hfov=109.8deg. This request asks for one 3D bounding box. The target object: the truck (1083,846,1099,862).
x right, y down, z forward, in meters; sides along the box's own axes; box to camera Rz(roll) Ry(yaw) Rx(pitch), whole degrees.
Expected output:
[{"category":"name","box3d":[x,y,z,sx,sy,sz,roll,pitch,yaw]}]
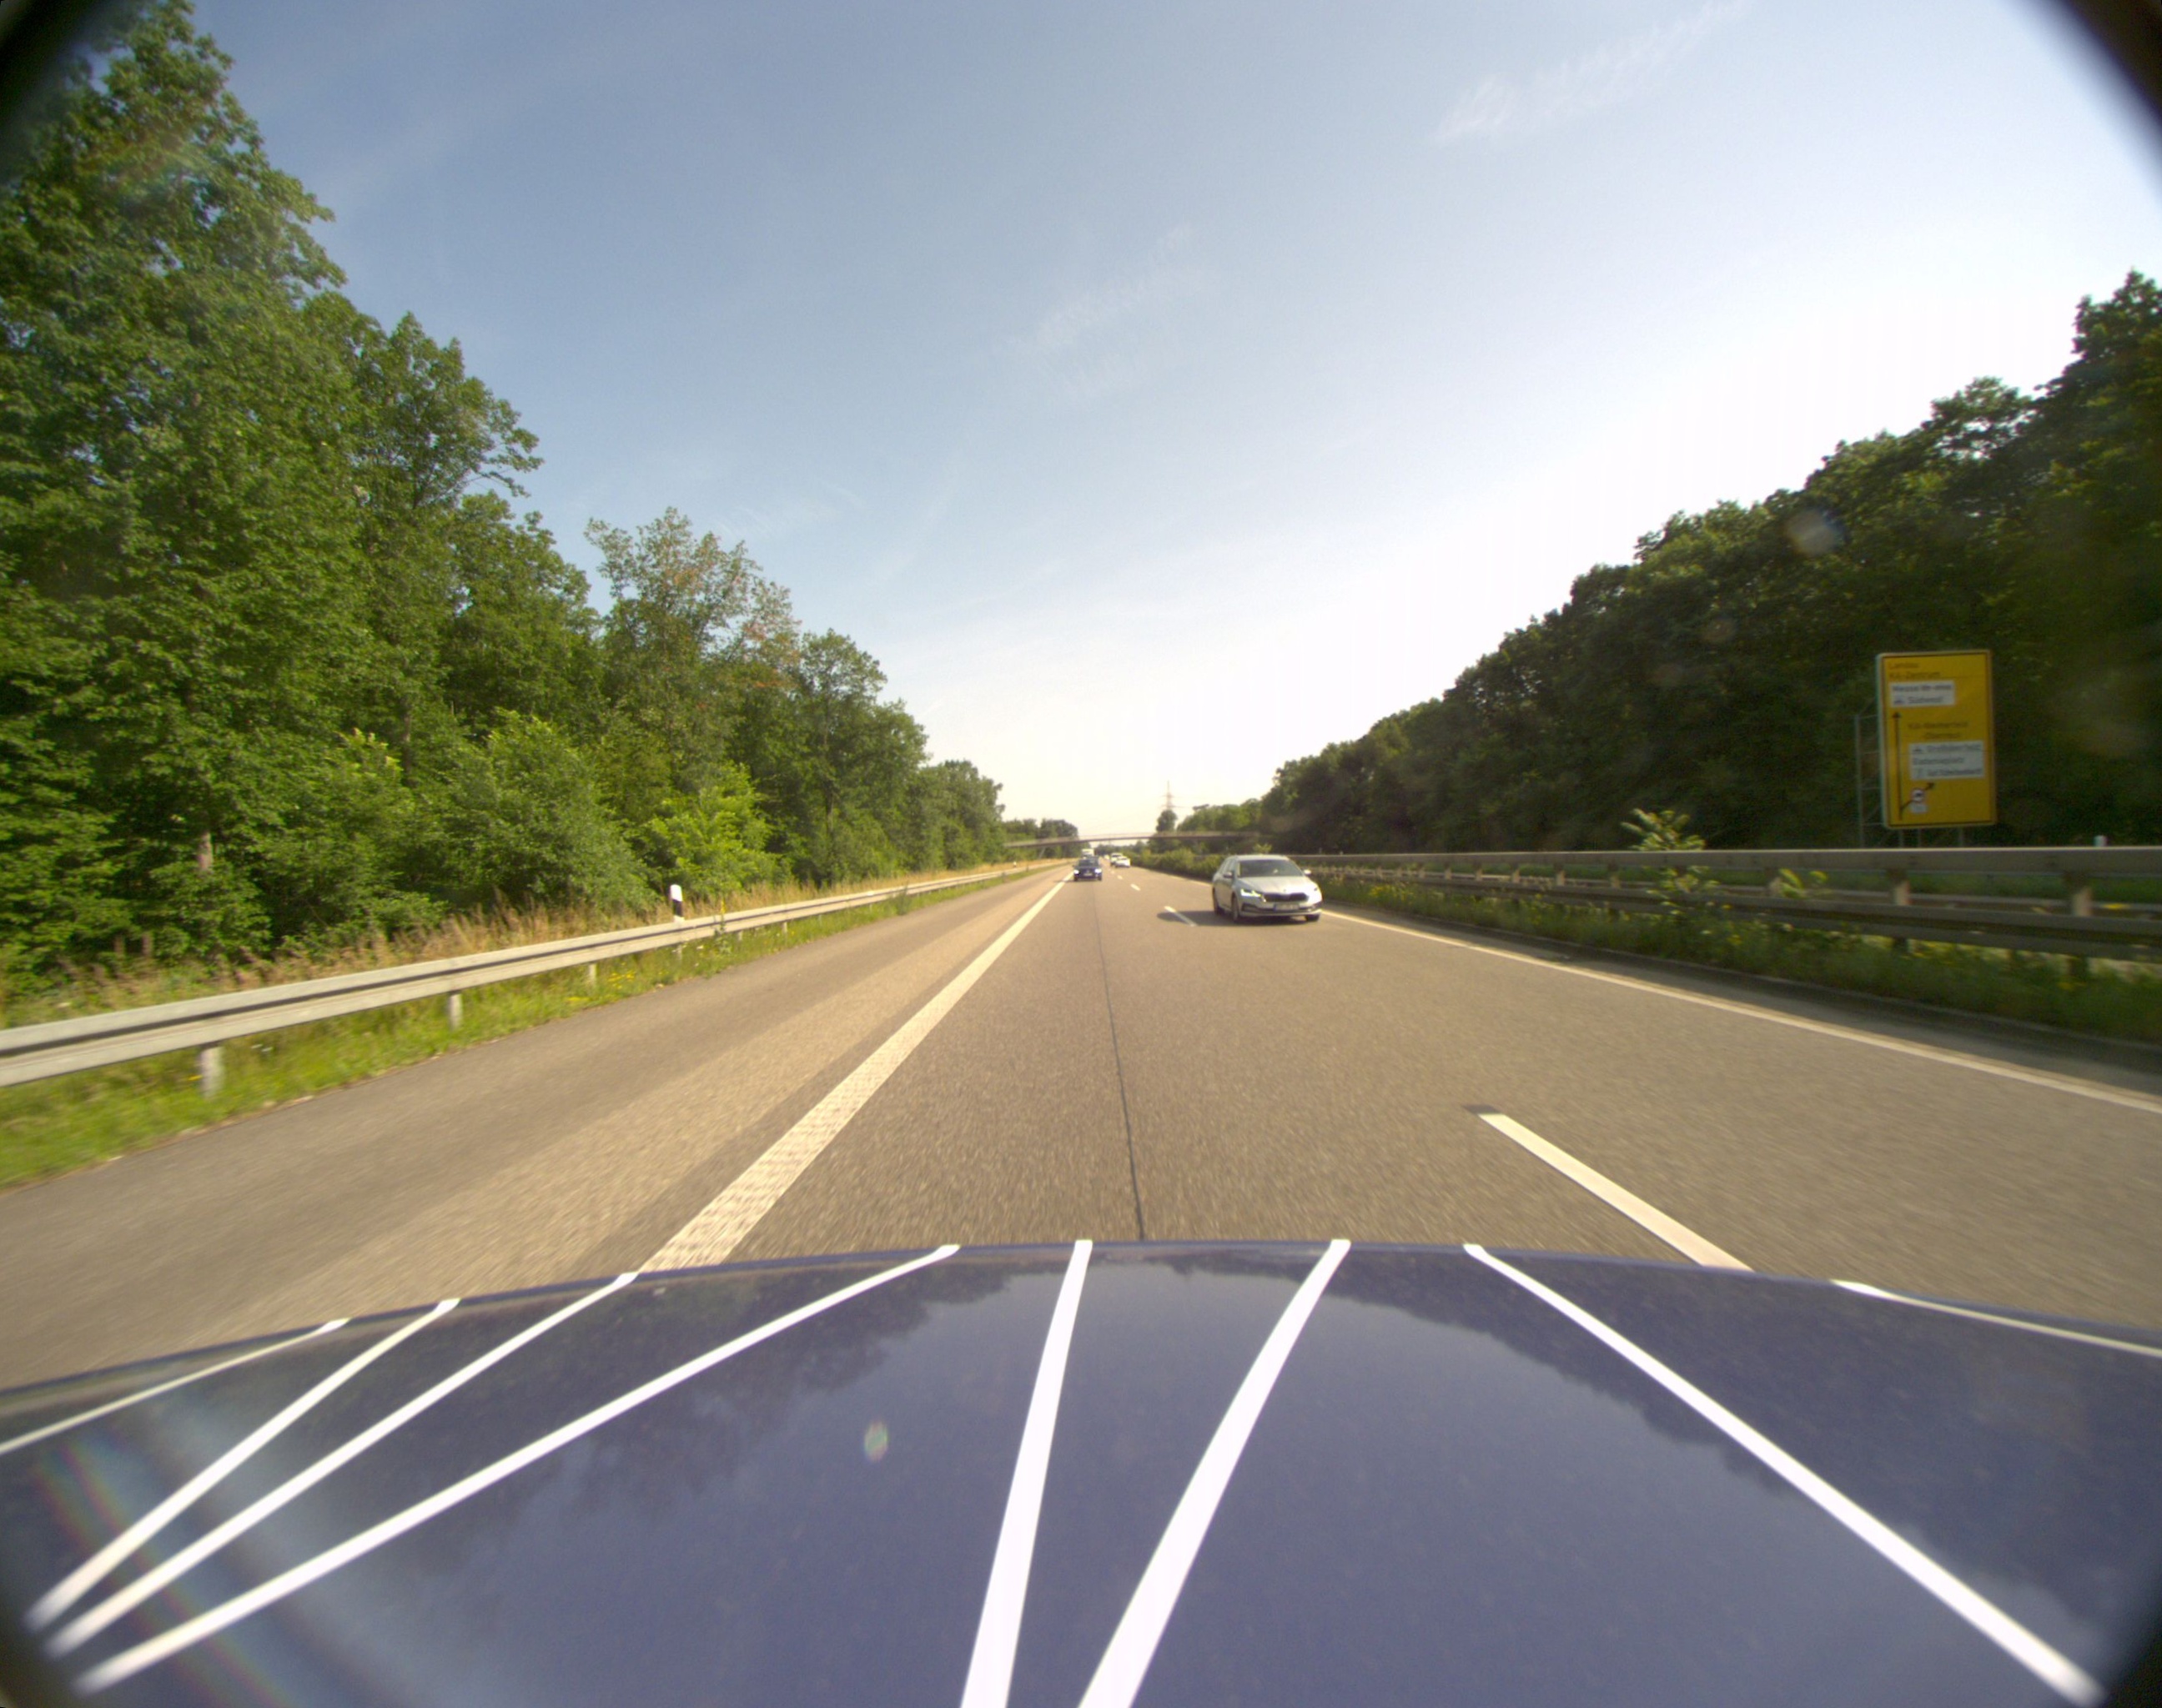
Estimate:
[{"category":"truck","box3d":[1.920,-0.068,153.441,2.695,3.020,10.369,-2,0,-2]}]

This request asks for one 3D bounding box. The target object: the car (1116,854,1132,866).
[{"category":"car","box3d":[5.507,0.752,97.314,1.754,1.477,5.263,-2,0,0]}]

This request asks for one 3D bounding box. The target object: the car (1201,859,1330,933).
[{"category":"car","box3d":[4.152,0.865,18.020,1.797,1.430,5.278,-1,0,1]}]

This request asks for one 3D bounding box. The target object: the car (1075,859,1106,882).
[{"category":"car","box3d":[0.544,0.979,46.176,1.789,1.285,3.538,-2,0,-1]}]

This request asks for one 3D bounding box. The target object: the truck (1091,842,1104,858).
[{"category":"truck","box3d":[4.372,-1.124,204.354,2.695,4.061,12.362,-2,0,-2]}]

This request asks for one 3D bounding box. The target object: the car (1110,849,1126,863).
[{"category":"car","box3d":[5.621,0.319,115.310,1.913,1.934,4.705,-2,0,-3]}]
